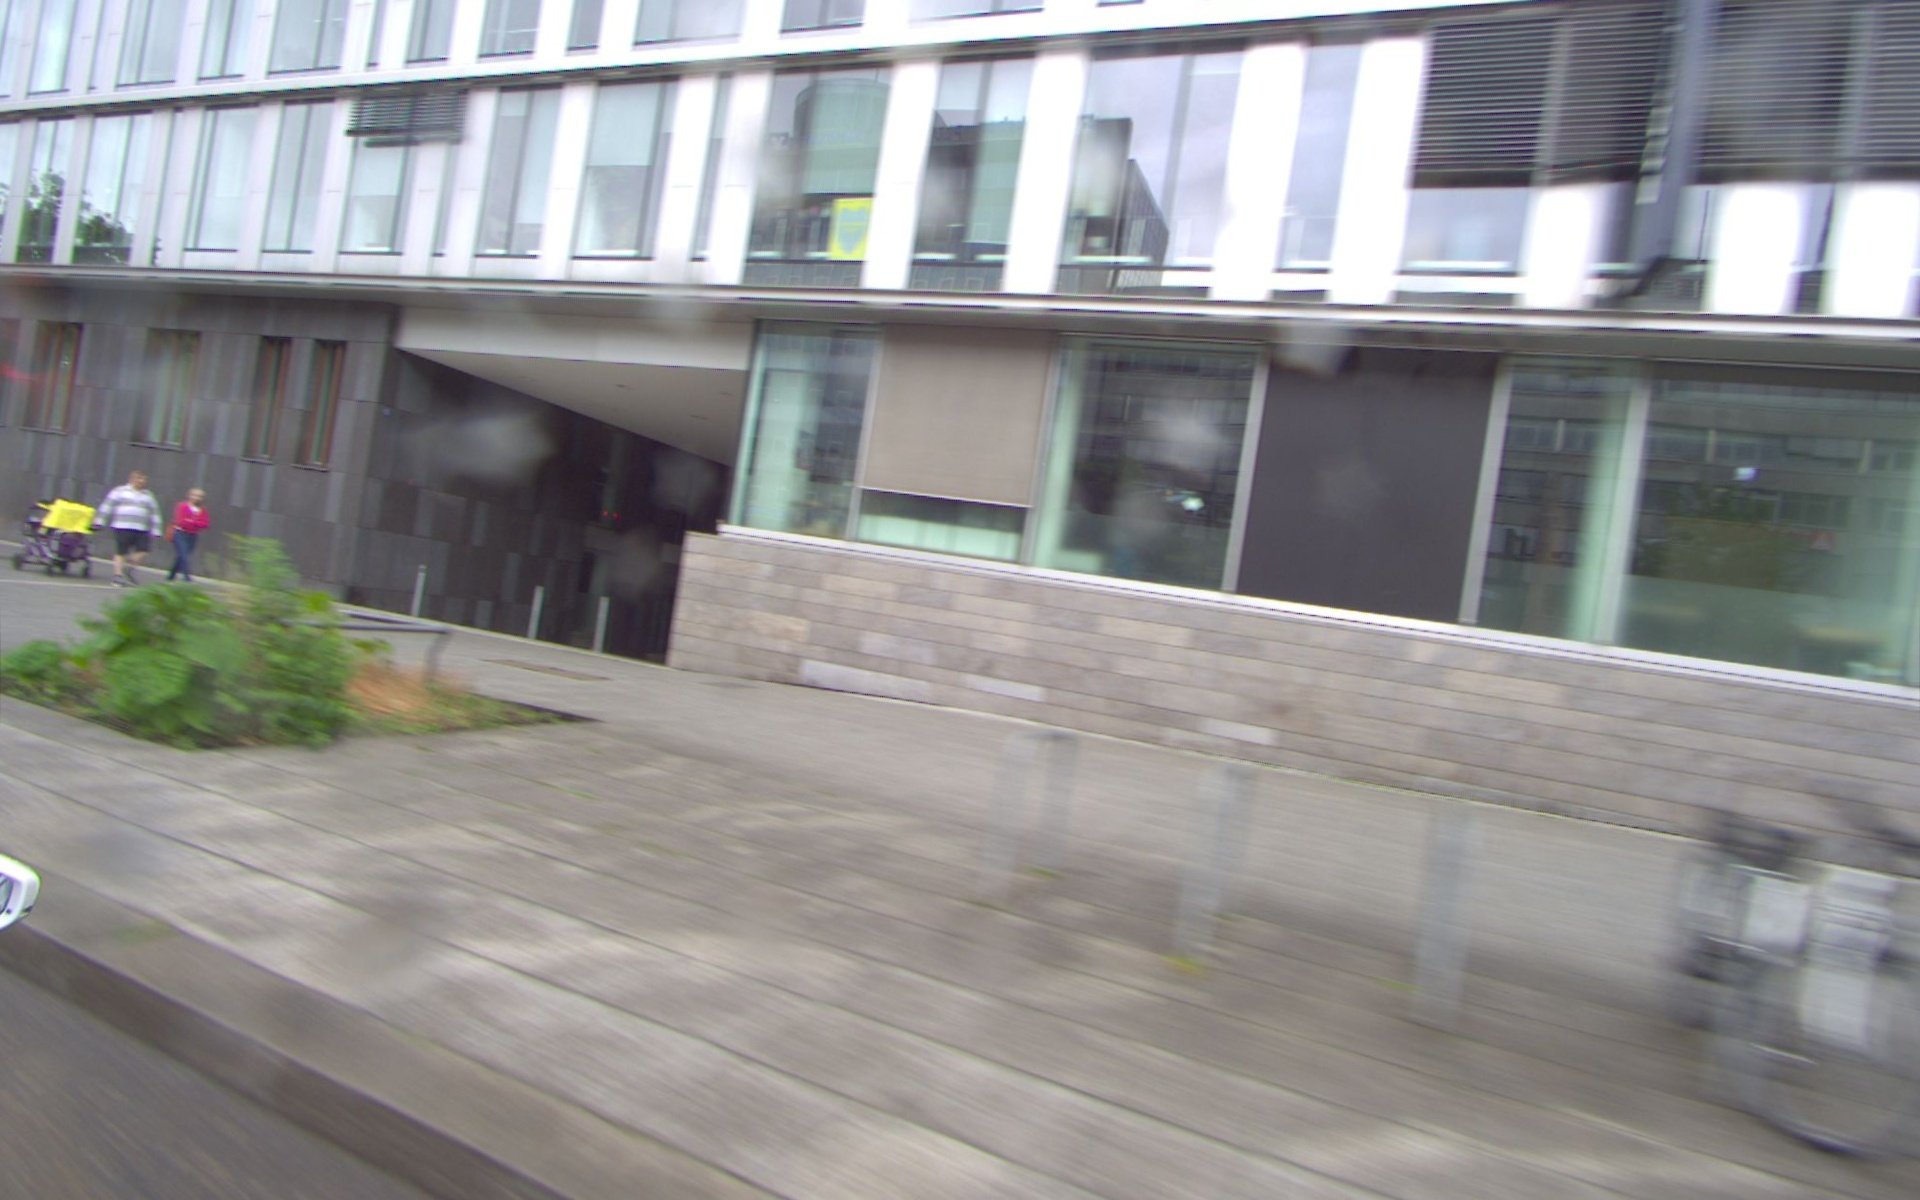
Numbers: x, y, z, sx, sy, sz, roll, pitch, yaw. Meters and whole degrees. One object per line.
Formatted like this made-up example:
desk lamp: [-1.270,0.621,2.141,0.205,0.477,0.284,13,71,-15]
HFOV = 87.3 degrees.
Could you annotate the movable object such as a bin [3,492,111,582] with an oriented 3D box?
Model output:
movable object such as a bin: [-14.925,-1.044,16.629,1.418,1.280,0.733,8,2,24]

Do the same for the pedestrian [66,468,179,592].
pedestrian: [-13.494,-1.109,16.223,1.027,1.815,0.902,8,2,21]

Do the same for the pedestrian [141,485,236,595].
pedestrian: [-13.175,-1.021,17.183,1.080,1.712,0.719,8,2,21]

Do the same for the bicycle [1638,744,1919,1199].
bicycle: [3.230,1.272,3.957,0.649,1.212,1.839,8,0,30]
